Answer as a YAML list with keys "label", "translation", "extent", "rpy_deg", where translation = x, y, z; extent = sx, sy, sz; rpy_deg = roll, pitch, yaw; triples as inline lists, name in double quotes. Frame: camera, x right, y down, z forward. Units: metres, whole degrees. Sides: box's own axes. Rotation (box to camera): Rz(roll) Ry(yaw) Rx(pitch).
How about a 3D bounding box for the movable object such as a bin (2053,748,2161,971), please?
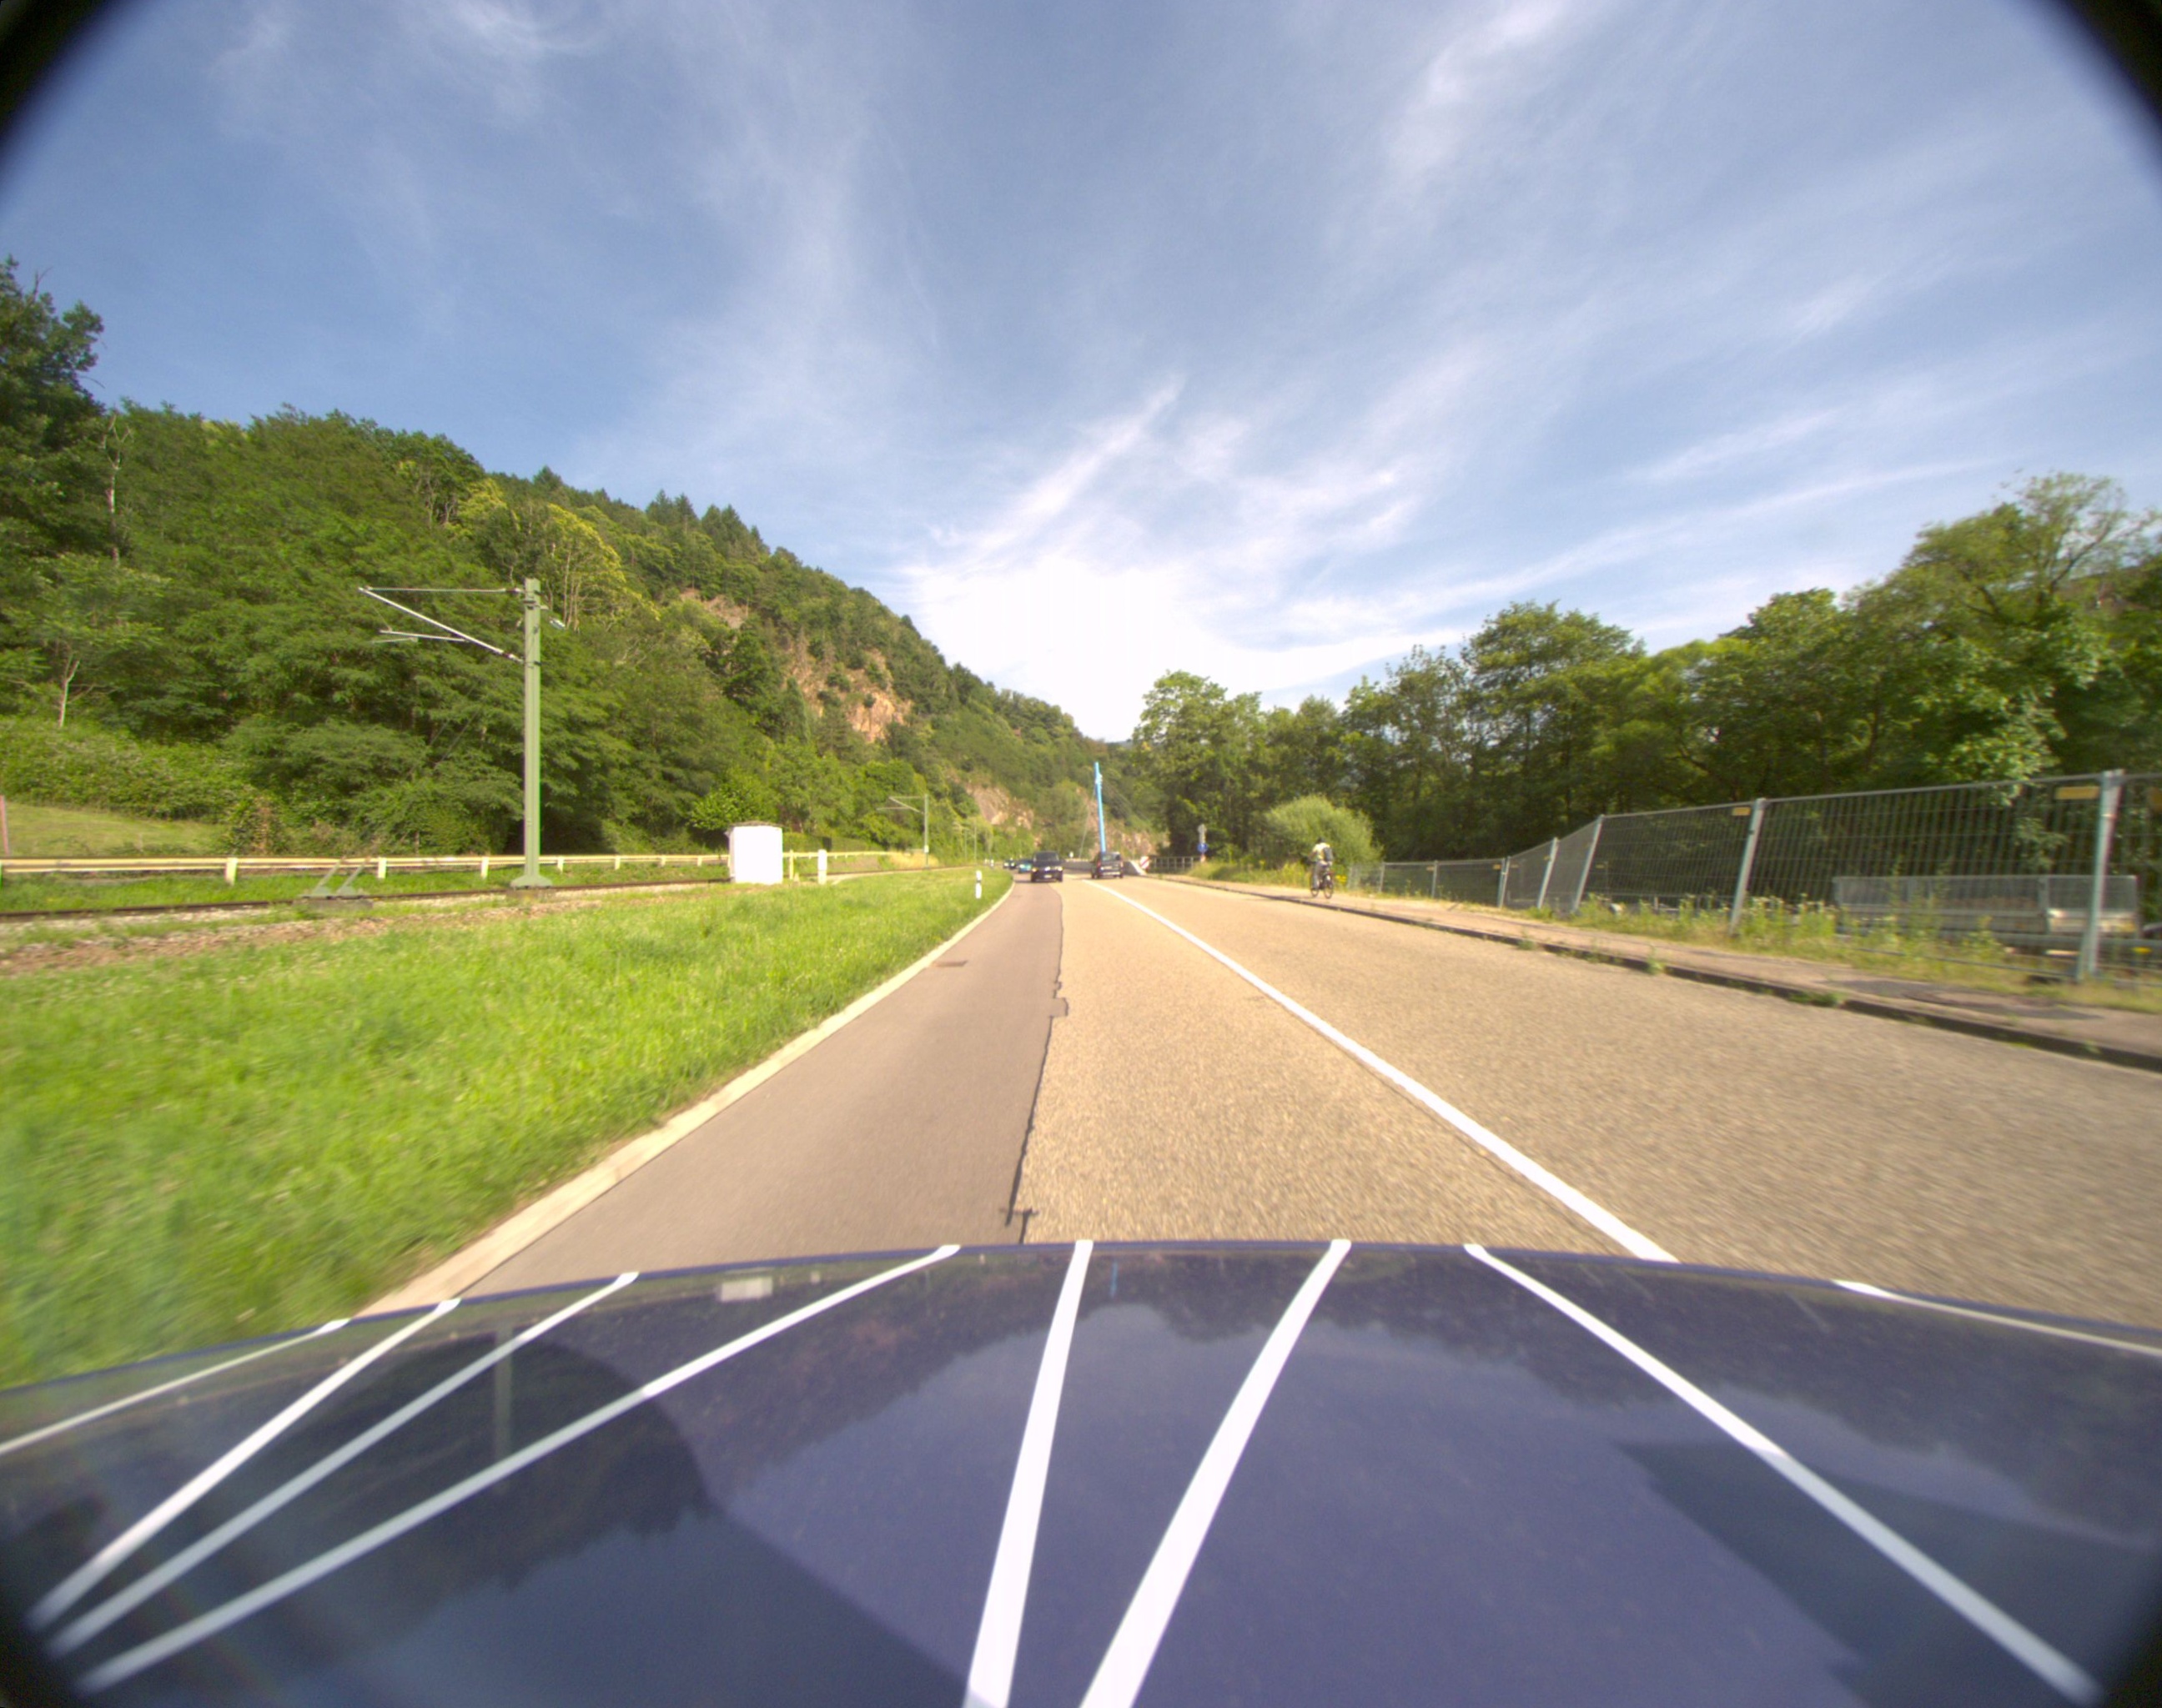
- label: "movable object such as a bin"
  translation: [20.636, 0.129, 9.863]
  extent: [2.707, 3.924, 9.985]
  rpy_deg: [1, 0, -4]

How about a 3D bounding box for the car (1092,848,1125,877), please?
- label: "car"
  translation: [1.774, 0.527, 50.448]
  extent: [1.856, 1.774, 4.683]
  rpy_deg: [-2, 0, -2]

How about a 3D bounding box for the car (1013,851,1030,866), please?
- label: "car"
  translation: [-7.784, 0.589, 99.742]
  extent: [1.999, 2.002, 3.999]
  rpy_deg: [1, 0, -2]

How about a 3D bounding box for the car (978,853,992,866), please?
- label: "car"
  translation: [-15.383, 0.878, 121.519]
  extent: [1.999, 2.002, 3.998]
  rpy_deg: [1, 0, -5]

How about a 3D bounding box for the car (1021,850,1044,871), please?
- label: "car"
  translation: [-4.846, 0.637, 75.032]
  extent: [2.000, 2.002, 3.997]
  rpy_deg: [1, 0, -7]

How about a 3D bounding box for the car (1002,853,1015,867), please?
- label: "car"
  translation: [-11.173, 0.890, 117.296]
  extent: [1.999, 2.002, 3.998]
  rpy_deg: [1, 0, -5]

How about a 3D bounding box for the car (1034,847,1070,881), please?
- label: "car"
  translation: [-1.857, 0.655, 47.645]
  extent: [2.000, 2.001, 3.999]
  rpy_deg: [0, -2, -7]

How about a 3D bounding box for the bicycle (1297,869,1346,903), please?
- label: "bicycle"
  translation: [6.794, 0.881, 21.547]
  extent: [0.541, 0.876, 2.252]
  rpy_deg: [-2, 0, -3]

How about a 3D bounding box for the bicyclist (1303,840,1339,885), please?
- label: "bicyclist"
  translation: [6.761, 0.231, 21.447]
  extent: [0.686, 1.218, 0.858]
  rpy_deg: [-2, 0, -3]
